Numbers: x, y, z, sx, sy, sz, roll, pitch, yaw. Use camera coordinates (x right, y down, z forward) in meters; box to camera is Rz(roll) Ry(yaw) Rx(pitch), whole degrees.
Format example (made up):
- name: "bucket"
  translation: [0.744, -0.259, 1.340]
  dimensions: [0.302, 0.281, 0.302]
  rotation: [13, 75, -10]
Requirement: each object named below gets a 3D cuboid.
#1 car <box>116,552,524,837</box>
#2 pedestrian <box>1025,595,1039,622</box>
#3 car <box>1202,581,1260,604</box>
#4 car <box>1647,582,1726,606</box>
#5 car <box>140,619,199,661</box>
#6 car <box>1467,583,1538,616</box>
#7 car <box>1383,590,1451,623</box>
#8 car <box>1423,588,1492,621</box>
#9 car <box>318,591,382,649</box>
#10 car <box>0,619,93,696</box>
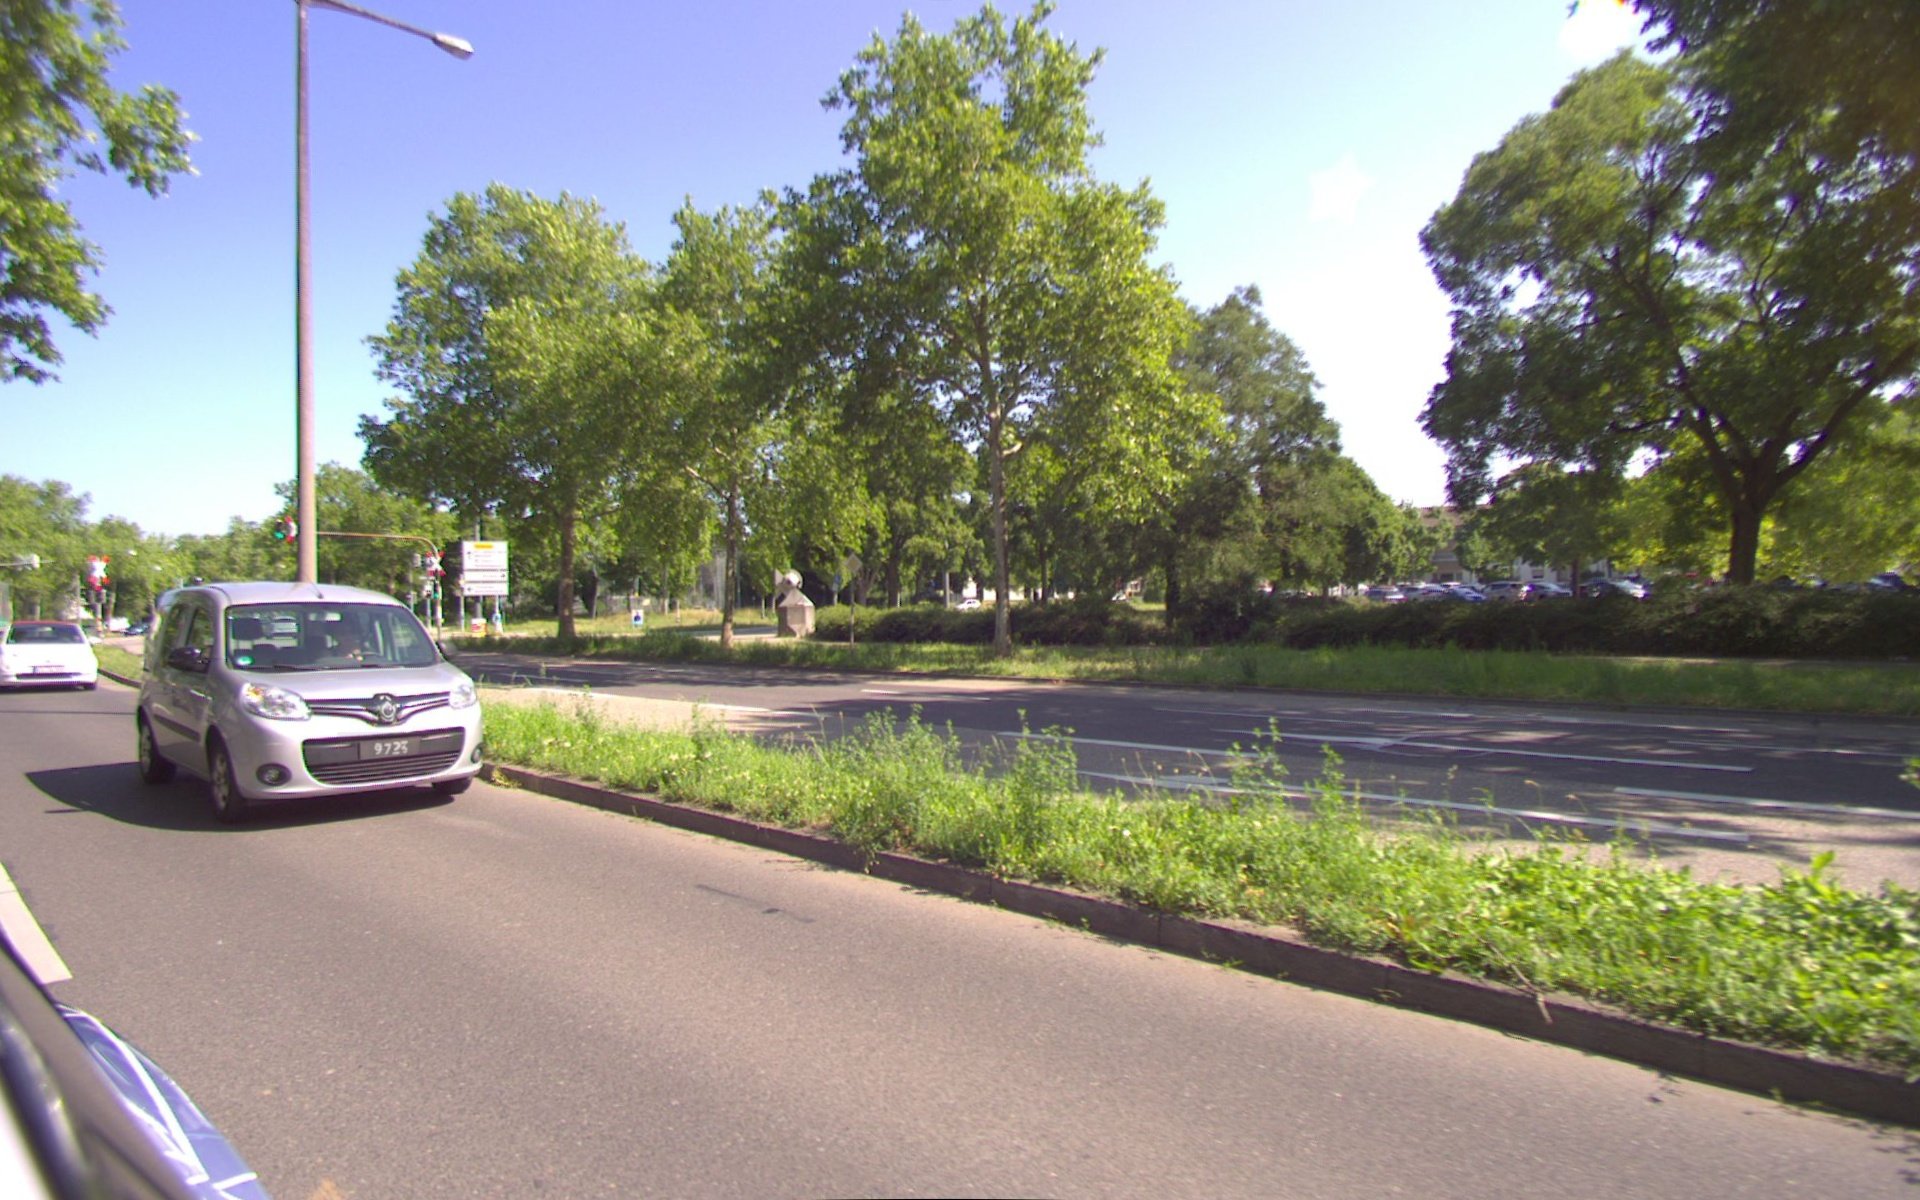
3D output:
- name: "car"
  translation: [-5.688, 0.682, 8.761]
  dimensions: [4.374, 1.854, 1.852]
  rotation: [-2, -3, 42]
- name: "pedestrian"
  translation: [5.485, 0.675, 76.922]
  dimensions: [0.712, 2.029, 0.784]
  rotation: [-3, -1, 45]
- name: "car"
  translation: [21.022, -0.584, 78.648]
  dimensions: [3.923, 1.715, 1.819]
  rotation: [-2, 0, -9]
- name: "car"
  translation: [48.644, -0.396, 67.834]
  dimensions: [1.786, 1.502, 4.012]
  rotation: [-1, -1, -18]
- name: "car"
  translation: [-31.279, 1.554, 40.113]
  dimensions: [1.671, 1.519, 4.139]
  rotation: [-1, -1, -36]
- name: "car"
  translation: [35.464, -0.021, 66.314]
  dimensions: [1.787, 2.029, 4.011]
  rotation: [-1, -1, -15]
- name: "car"
  translation: [29.382, 0.460, 65.195]
  dimensions: [1.787, 2.029, 4.011]
  rotation: [-1, -1, -15]
- name: "car"
  translation: [32.143, 0.317, 65.516]
  dimensions: [1.787, 2.029, 4.011]
  rotation: [-1, -1, -15]
- name: "car"
  translation: [-29.715, 0.969, 49.176]
  dimensions: [2.033, 2.633, 7.233]
  rotation: [0, -1, -36]
- name: "car"
  translation: [-20.046, 1.222, 21.901]
  dimensions: [1.665, 1.502, 4.378]
  rotation: [1, -3, -44]
